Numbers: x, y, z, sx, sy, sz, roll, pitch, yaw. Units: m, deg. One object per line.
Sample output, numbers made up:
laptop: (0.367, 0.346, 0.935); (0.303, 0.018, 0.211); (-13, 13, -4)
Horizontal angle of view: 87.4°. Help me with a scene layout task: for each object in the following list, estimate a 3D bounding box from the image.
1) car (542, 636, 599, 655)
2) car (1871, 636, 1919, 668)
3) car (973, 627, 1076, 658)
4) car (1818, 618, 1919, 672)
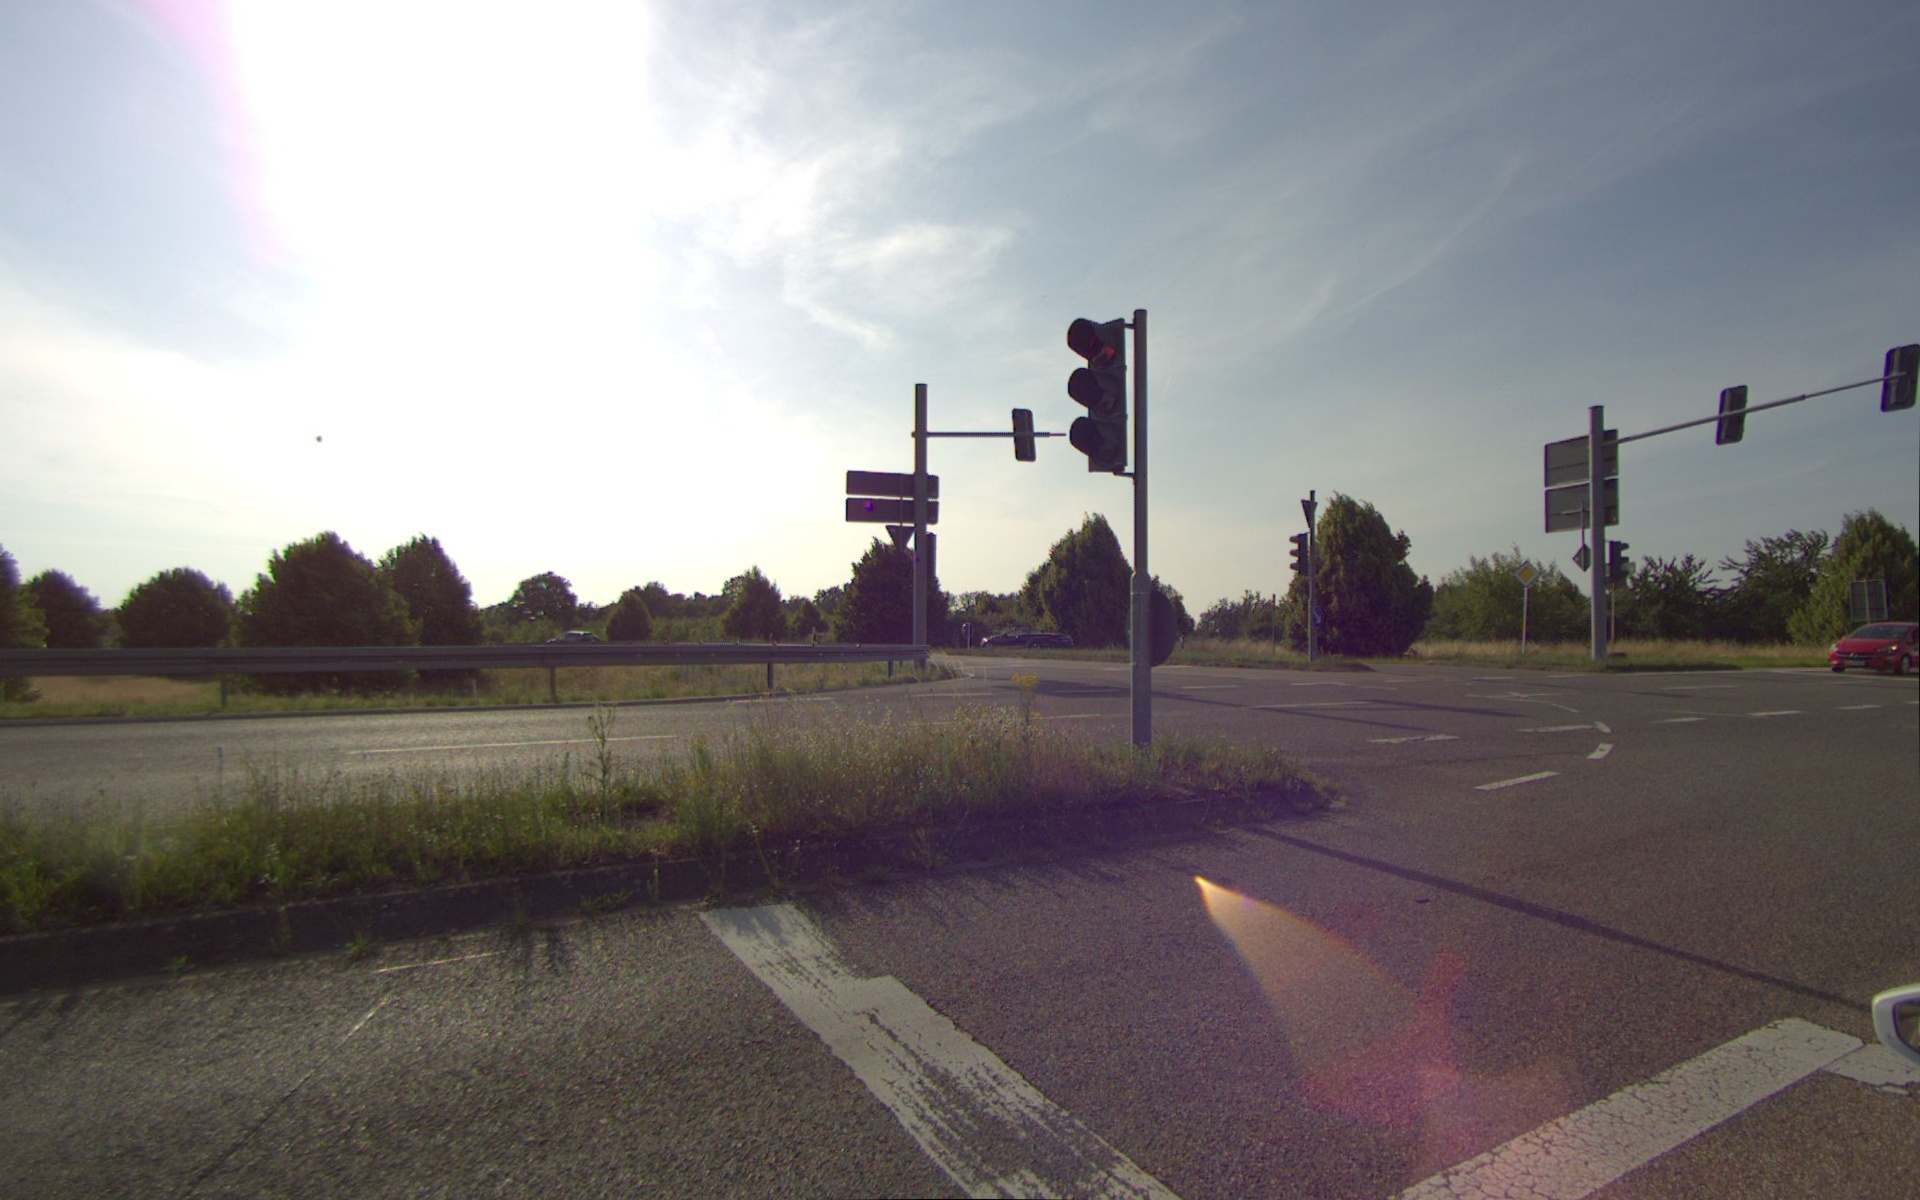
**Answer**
car: (-28.182, 3.281, 72.662); (4.594, 1.309, 1.437); (0, -1, 34)
car: (35.407, 1.881, 36.381); (4.415, 1.116, 1.988); (1, -1, -24)
car: (2.875, 1.884, 45.262); (4.598, 1.299, 1.717); (-1, -2, 43)
car: (27.160, 1.305, 29.402); (3.752, 1.507, 1.716); (1, -1, -25)
